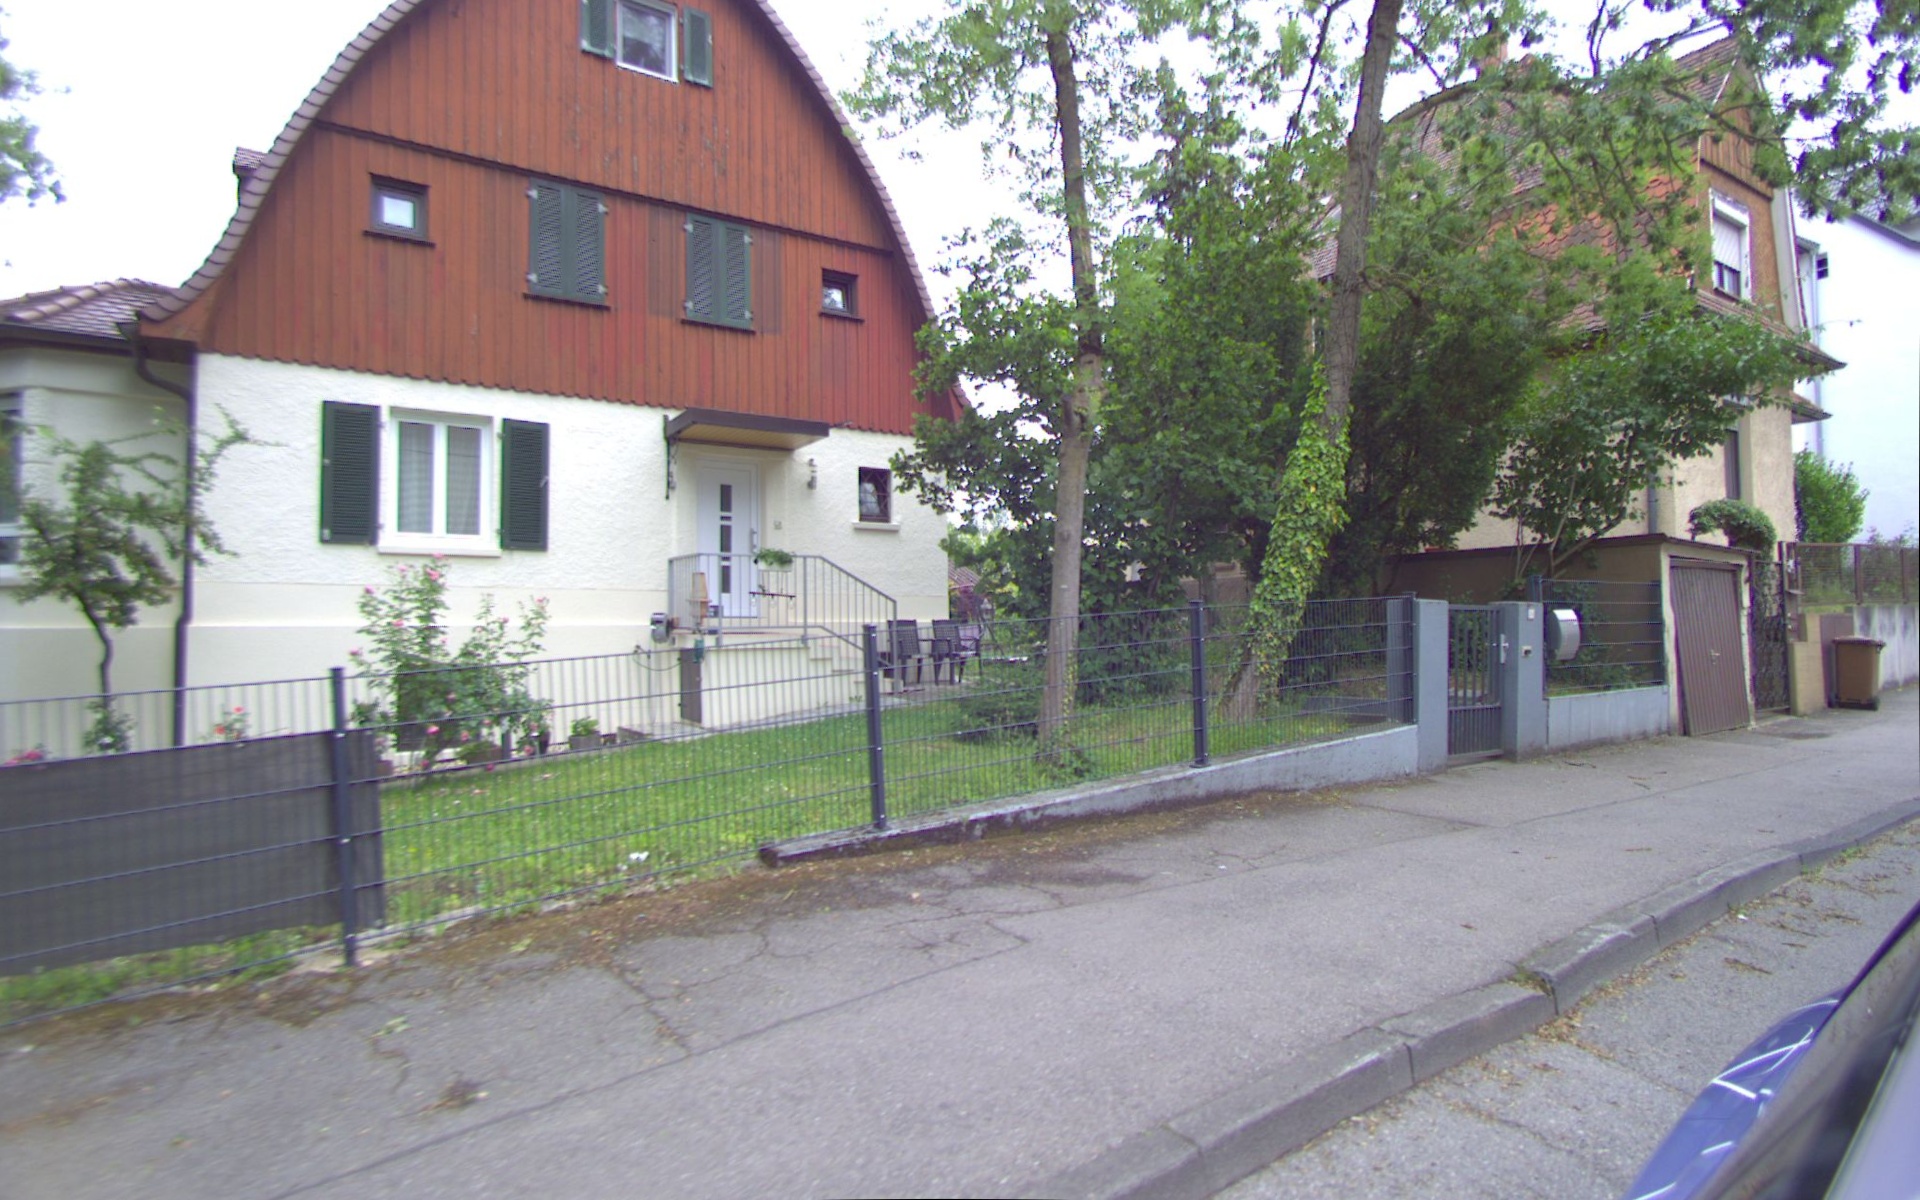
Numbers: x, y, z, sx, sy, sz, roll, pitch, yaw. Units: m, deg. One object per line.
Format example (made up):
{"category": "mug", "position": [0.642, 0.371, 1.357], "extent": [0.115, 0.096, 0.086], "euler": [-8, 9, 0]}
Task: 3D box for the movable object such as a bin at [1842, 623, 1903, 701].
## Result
{"category": "movable object such as a bin", "position": [11.808, 0.787, 13.094], "extent": [0.555, 0.935, 0.463], "euler": [-2, 2, -34]}
